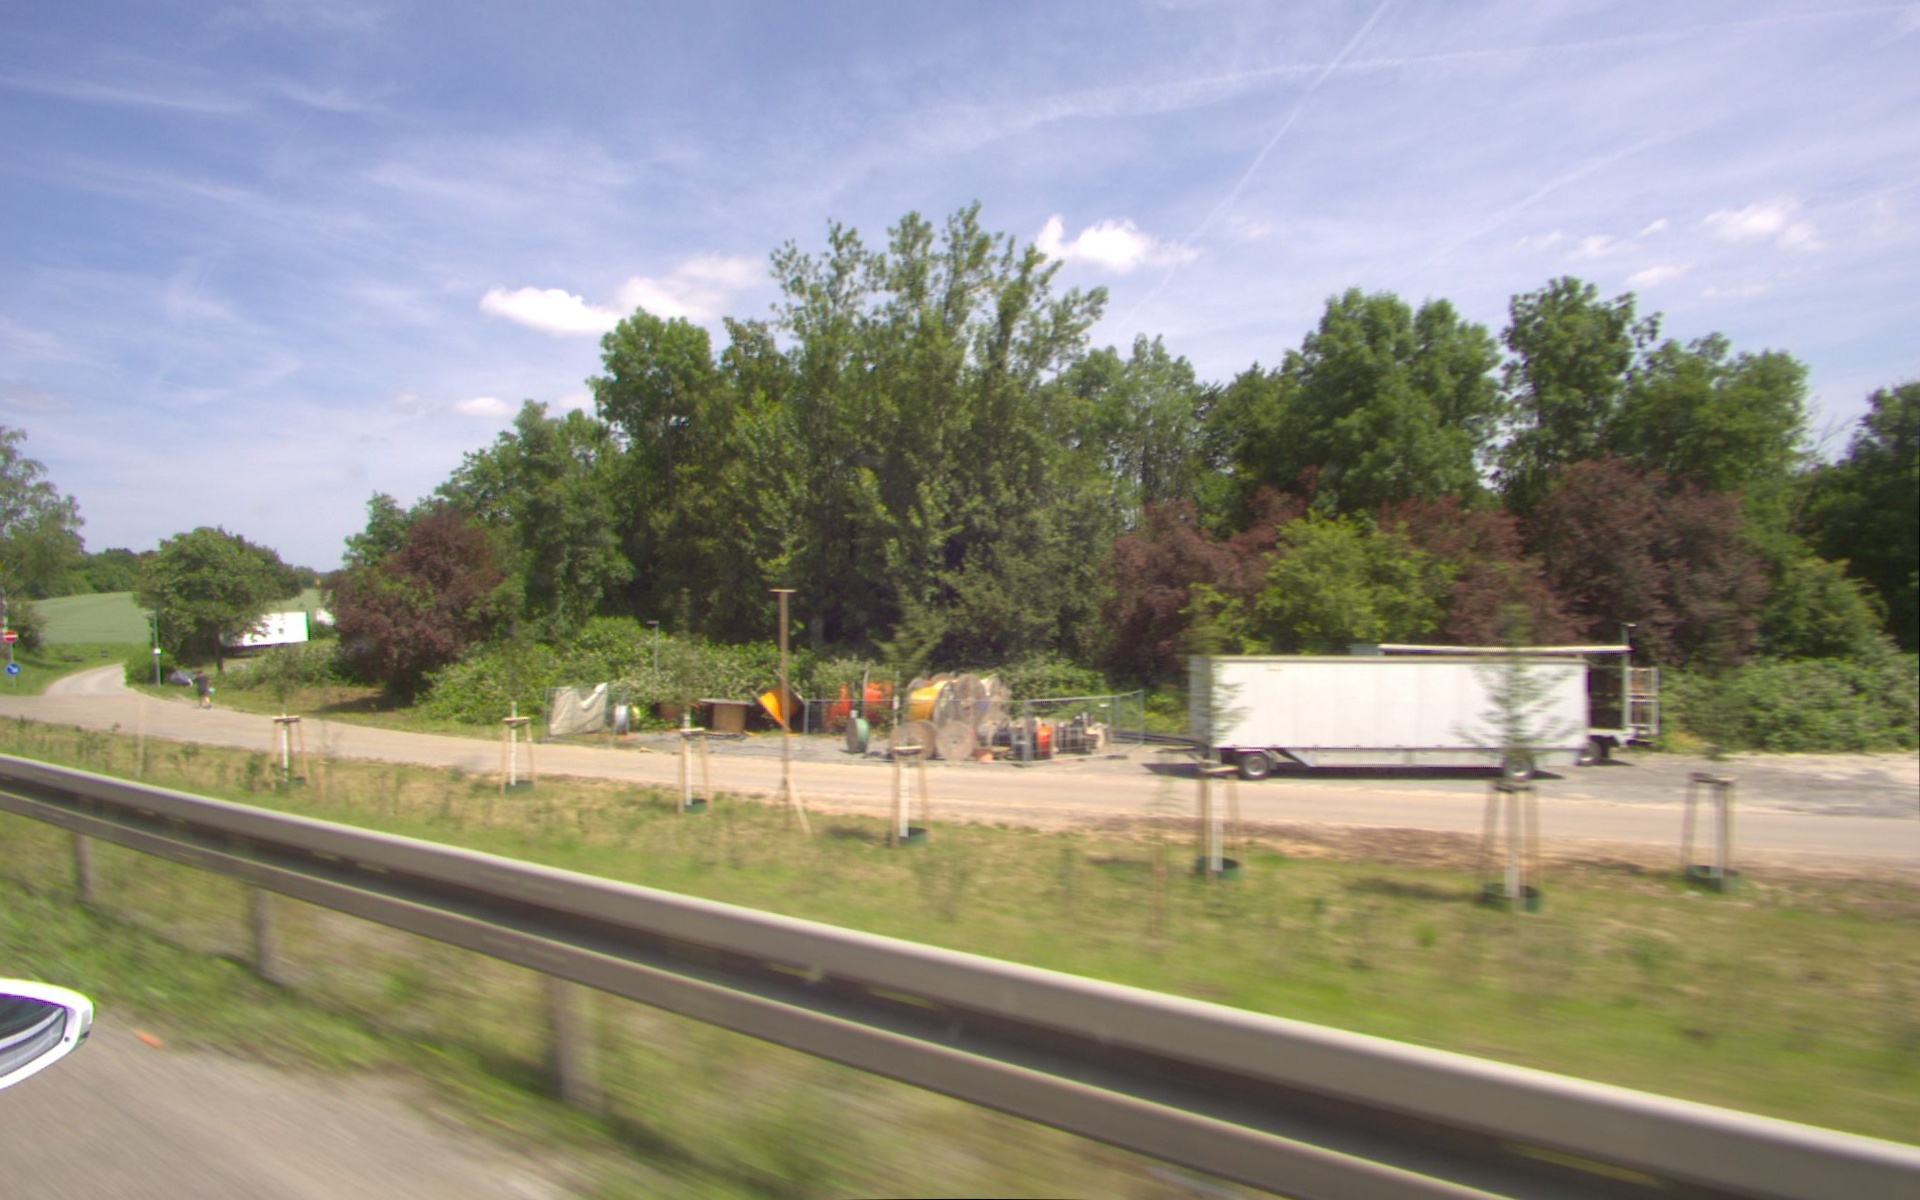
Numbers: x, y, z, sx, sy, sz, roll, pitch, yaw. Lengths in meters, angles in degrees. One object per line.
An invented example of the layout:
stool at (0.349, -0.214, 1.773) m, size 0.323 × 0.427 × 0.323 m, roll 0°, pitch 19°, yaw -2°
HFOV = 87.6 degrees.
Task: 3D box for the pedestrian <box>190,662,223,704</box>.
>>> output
pedestrian at (-35.197, 3.882, 46.786) m, size 0.946 × 1.836 × 0.882 m, roll 0°, pitch 3°, yaw 34°

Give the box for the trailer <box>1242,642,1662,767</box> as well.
trailer at (15.029, 3.154, 31.215) m, size 11.662 × 3.652 × 2.729 m, roll 0°, pitch -1°, yaw 1°

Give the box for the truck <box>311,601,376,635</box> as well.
truck at (-70.896, 2.052, 115.337) m, size 3.091 × 3.584 × 7.136 m, roll -1°, pitch 1°, yaw -1°

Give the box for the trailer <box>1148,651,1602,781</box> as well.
trailer at (11.385, 3.167, 28.178) m, size 11.663 × 3.371 × 2.728 m, roll 0°, pitch -1°, yaw -1°
